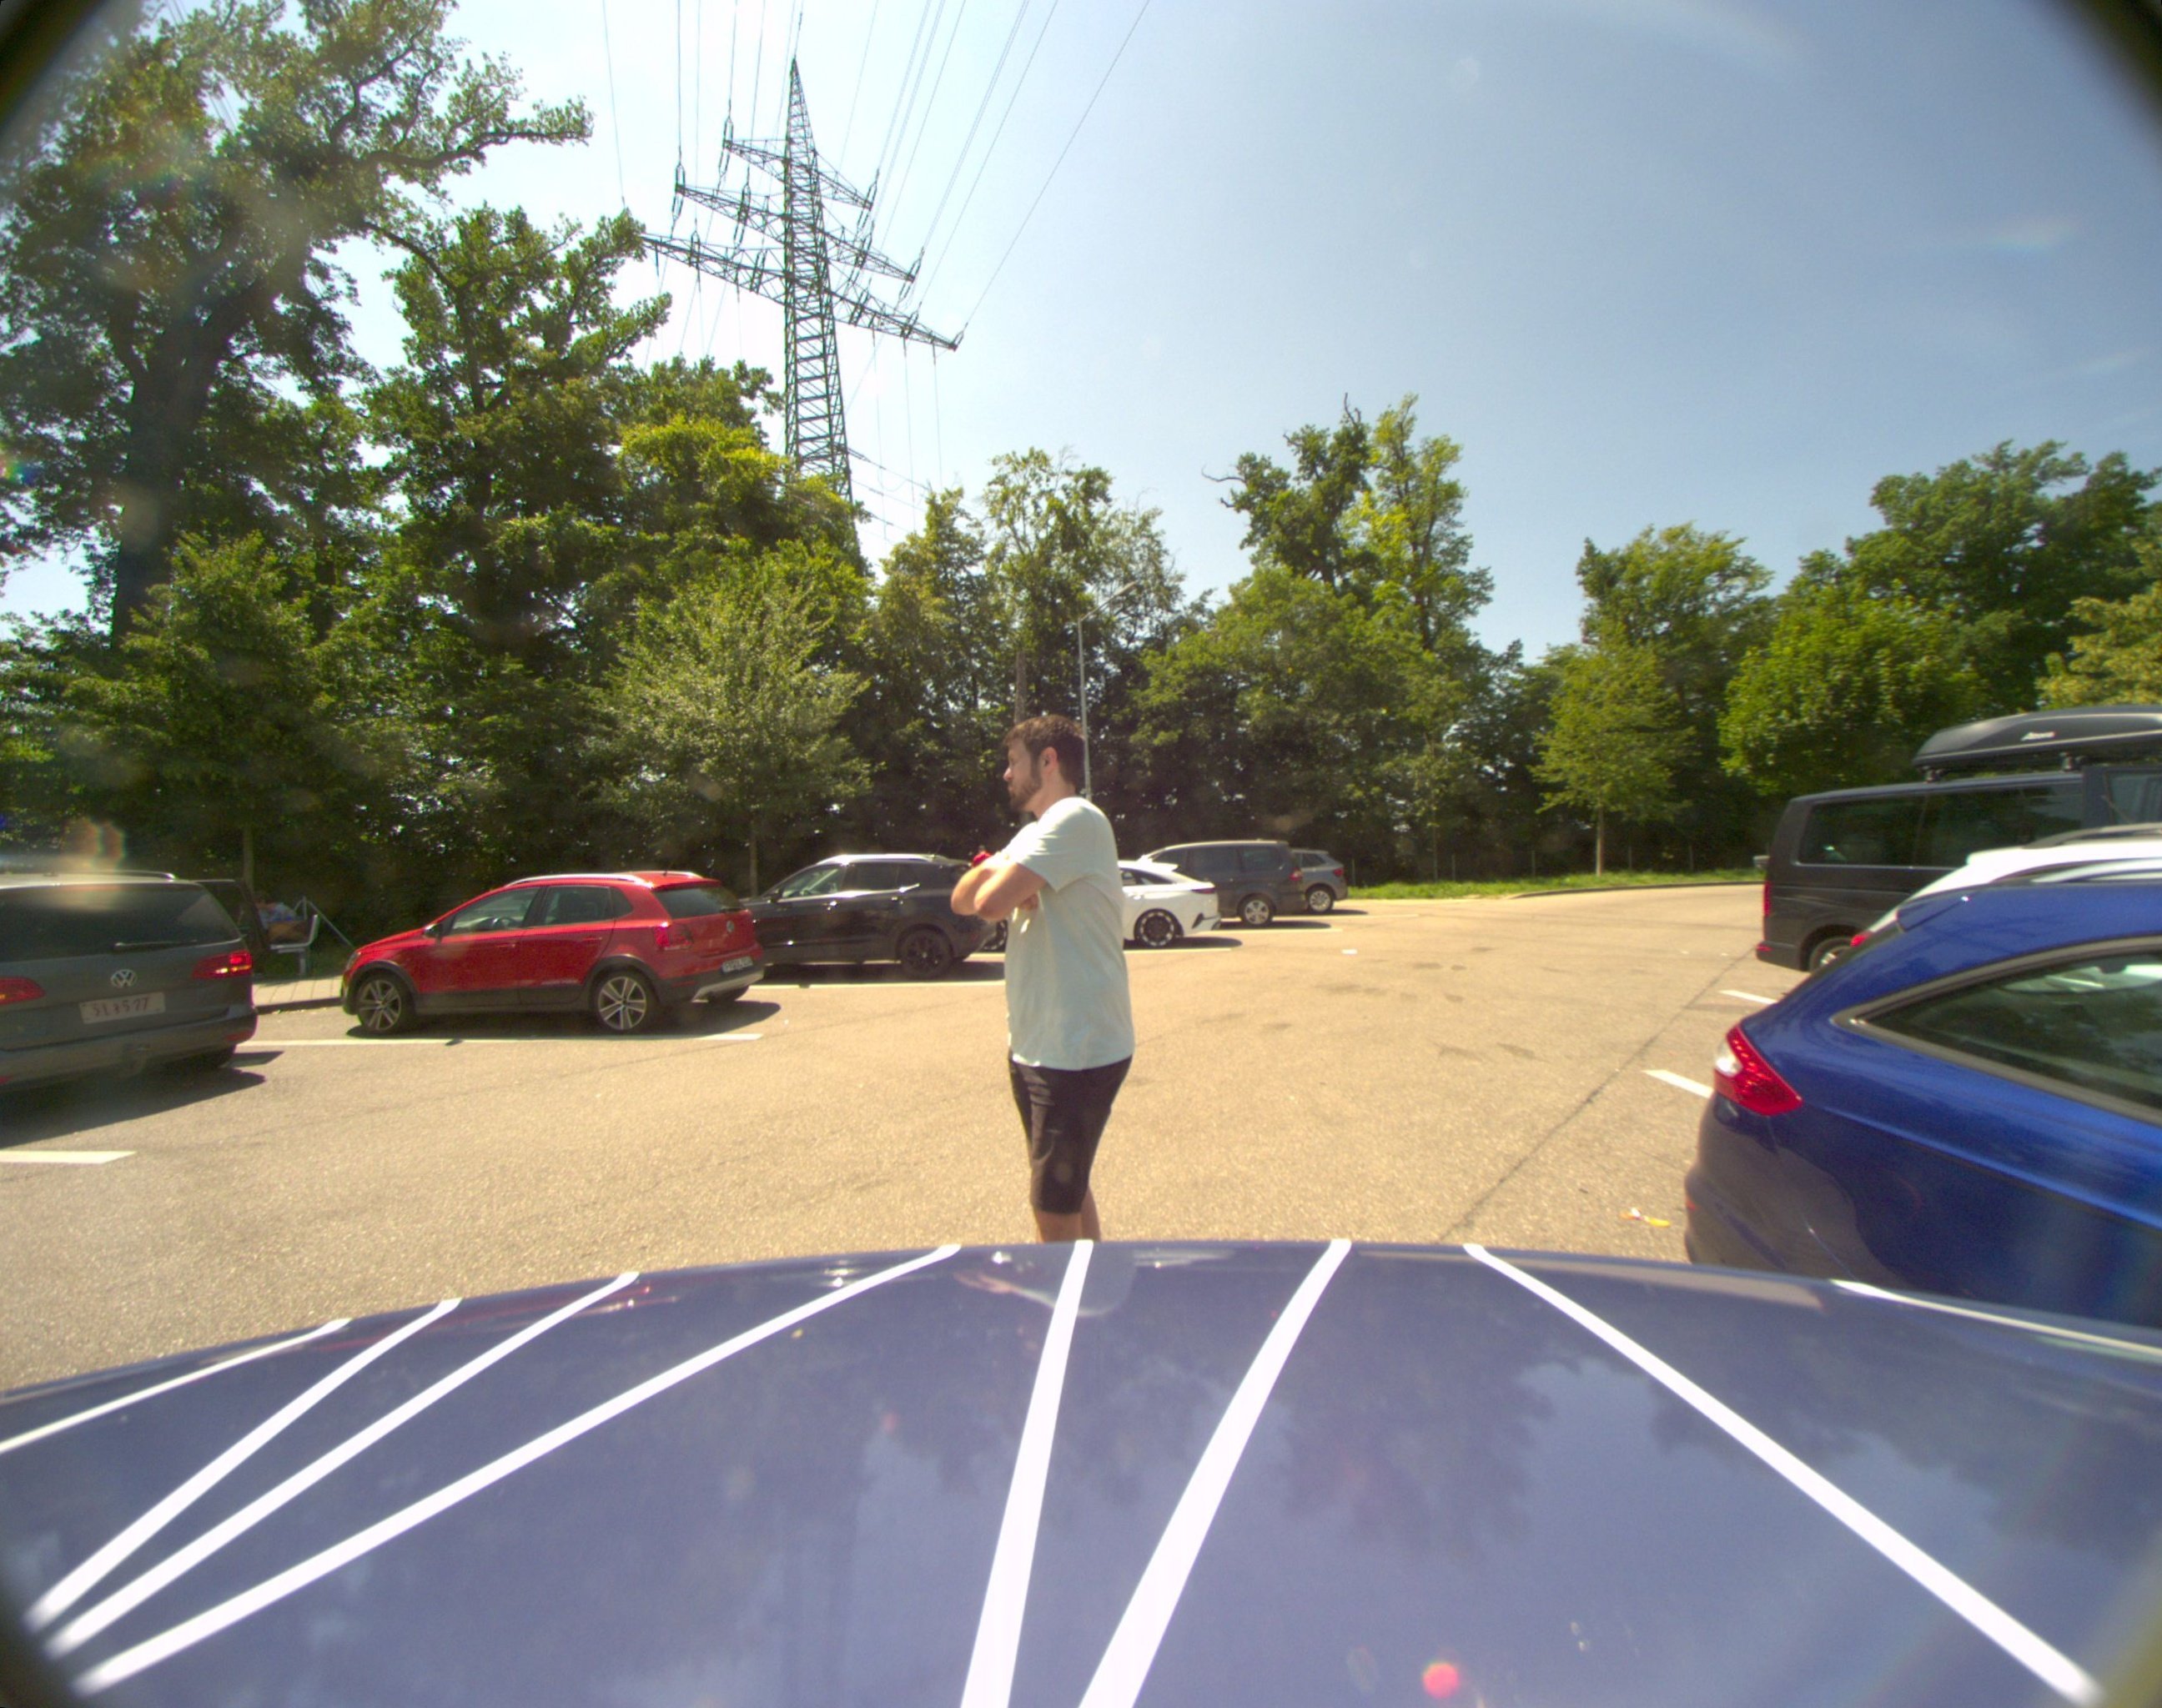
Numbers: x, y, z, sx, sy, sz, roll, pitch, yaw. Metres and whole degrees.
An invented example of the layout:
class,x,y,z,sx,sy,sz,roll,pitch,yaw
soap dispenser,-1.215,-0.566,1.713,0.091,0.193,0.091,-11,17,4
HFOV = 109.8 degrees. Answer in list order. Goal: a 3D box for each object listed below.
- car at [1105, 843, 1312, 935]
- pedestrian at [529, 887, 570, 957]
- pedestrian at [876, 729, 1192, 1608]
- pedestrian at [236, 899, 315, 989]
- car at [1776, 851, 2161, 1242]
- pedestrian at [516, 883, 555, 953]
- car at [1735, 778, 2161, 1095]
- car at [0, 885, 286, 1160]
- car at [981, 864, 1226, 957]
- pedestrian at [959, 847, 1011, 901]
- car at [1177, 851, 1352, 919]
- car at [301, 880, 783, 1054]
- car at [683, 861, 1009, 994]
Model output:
class,x,y,z,sx,sy,sz,roll,pitch,yaw
car,2.509,0.677,15.502,3.882,1.680,1.882,-1,0,5
pedestrian,-10.169,1.289,14.547,0.490,1.291,0.506,-2,0,41
pedestrian,-0.182,0.662,2.054,0.634,1.857,0.747,-2,0,-17
pedestrian,-11.756,1.298,11.089,0.680,1.211,0.675,-4,-2,36
car,4.778,0.700,2.439,1.607,1.405,3.743,-2,-1,-1
pedestrian,-11.014,1.272,15.330,0.490,1.367,0.506,-2,0,41
car,7.306,0.455,5.035,2.048,1.850,4.430,-2,-1,-1
car,-8.346,1.088,5.452,3.950,1.581,1.753,-1,1,11
car,0.407,0.903,12.752,3.805,1.359,1.803,-1,1,5
pedestrian,-2.348,0.486,18.655,0.890,1.292,0.865,-2,0,23
car,4.257,0.704,18.127,3.805,1.468,1.743,-1,1,5
car,-5.245,1.058,7.660,3.804,1.449,1.637,-1,1,7
car,-3.008,0.933,10.303,3.806,1.538,1.759,-1,1,2
